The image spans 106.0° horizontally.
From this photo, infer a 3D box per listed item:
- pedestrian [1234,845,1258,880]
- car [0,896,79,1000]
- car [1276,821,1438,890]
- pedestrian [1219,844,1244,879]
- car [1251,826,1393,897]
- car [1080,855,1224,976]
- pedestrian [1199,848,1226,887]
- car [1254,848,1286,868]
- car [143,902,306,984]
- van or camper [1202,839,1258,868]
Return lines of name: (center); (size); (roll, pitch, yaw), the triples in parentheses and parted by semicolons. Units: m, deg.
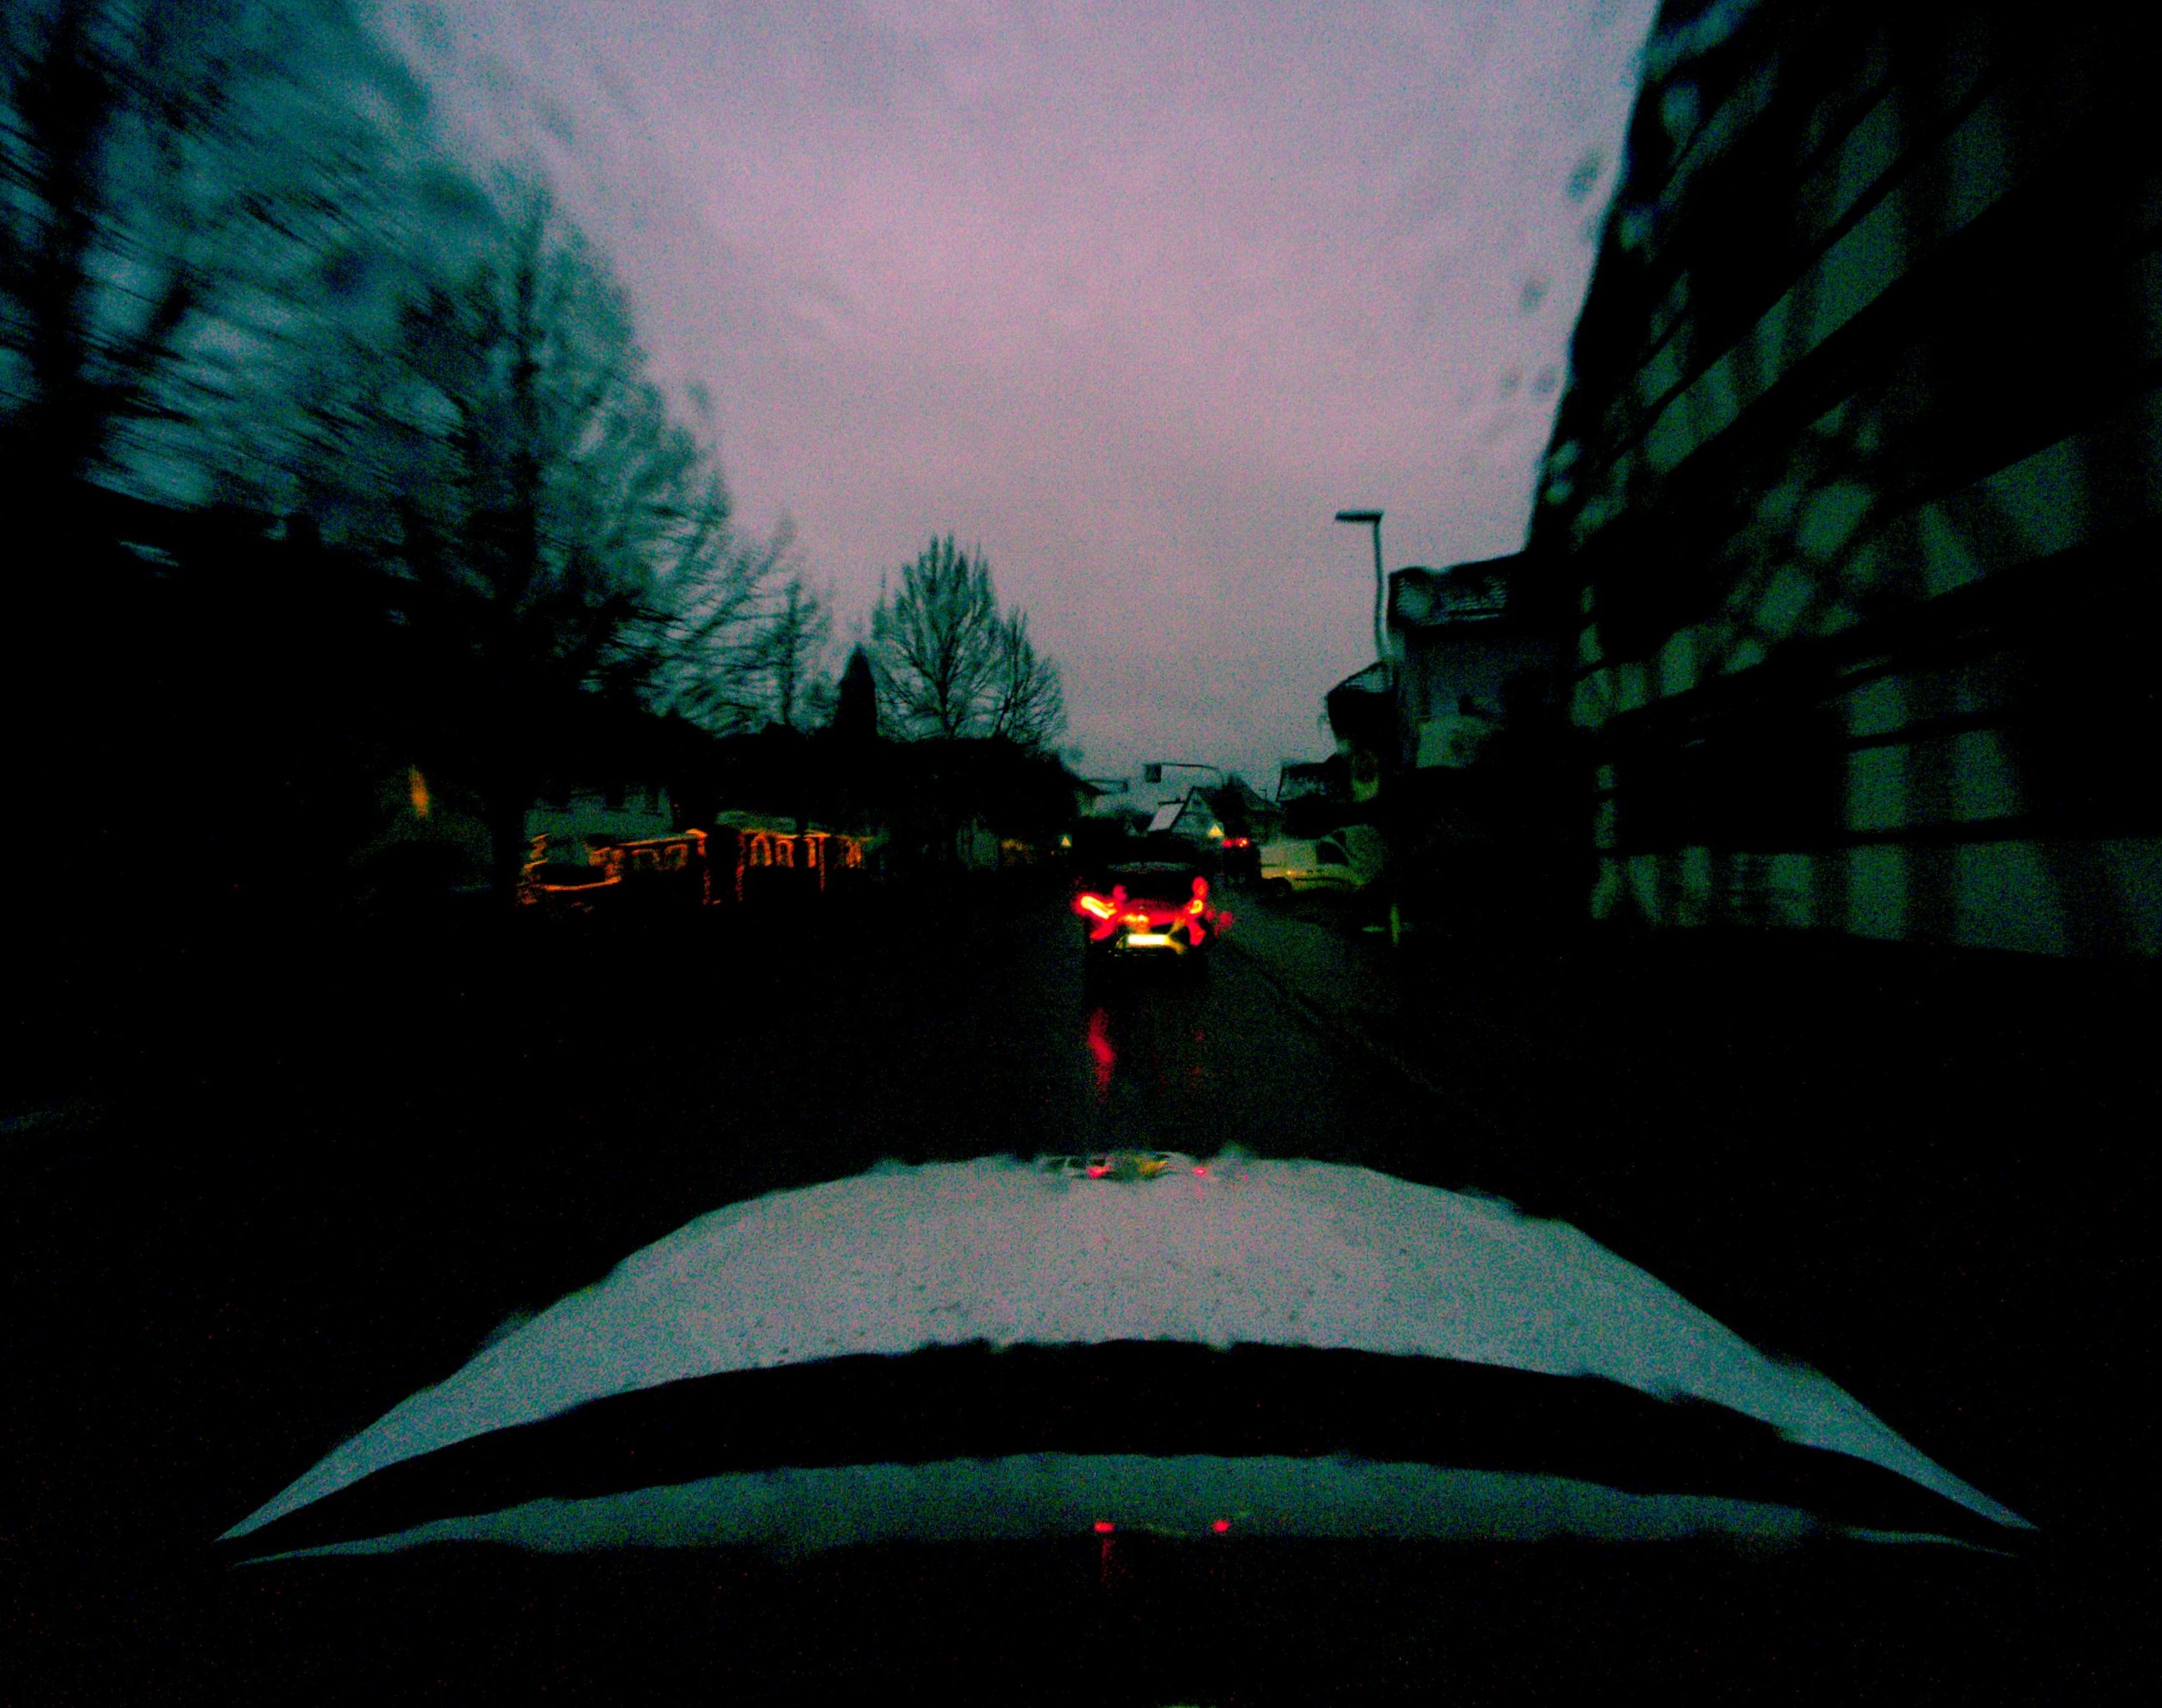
pedestrian: (8.461, 0.422, 41.796); (0.840, 1.733, 0.977); (-6, -2, 24)
car: (-18.043, 1.493, 13.141); (3.948, 1.508, 1.934); (-2, 0, 33)
car: (9.333, 0.063, 27.882); (4.943, 1.889, 1.945); (-5, -1, 15)
pedestrian: (7.757, 0.376, 41.941); (0.859, 1.667, 0.997); (-6, -2, 24)
car: (7.462, 0.242, 25.568); (4.016, 1.843, 1.869); (-5, -1, 11)
car: (1.023, 0.784, 12.304); (1.787, 1.476, 4.004); (-1, 0, 4)
pedestrian: (6.144, 0.627, 37.926); (0.872, 1.735, 0.961); (-6, -2, 24)
car: (16.431, 0.304, 70.707); (1.831, 1.637, 4.360); (-2, 0, 24)
car: (-16.931, 1.674, 16.084); (3.283, 1.329, 1.625); (-2, 0, 33)
van or camper: (18.000, -0.070, 98.651); (6.001, 2.955, 2.421); (-6, -3, 31)
